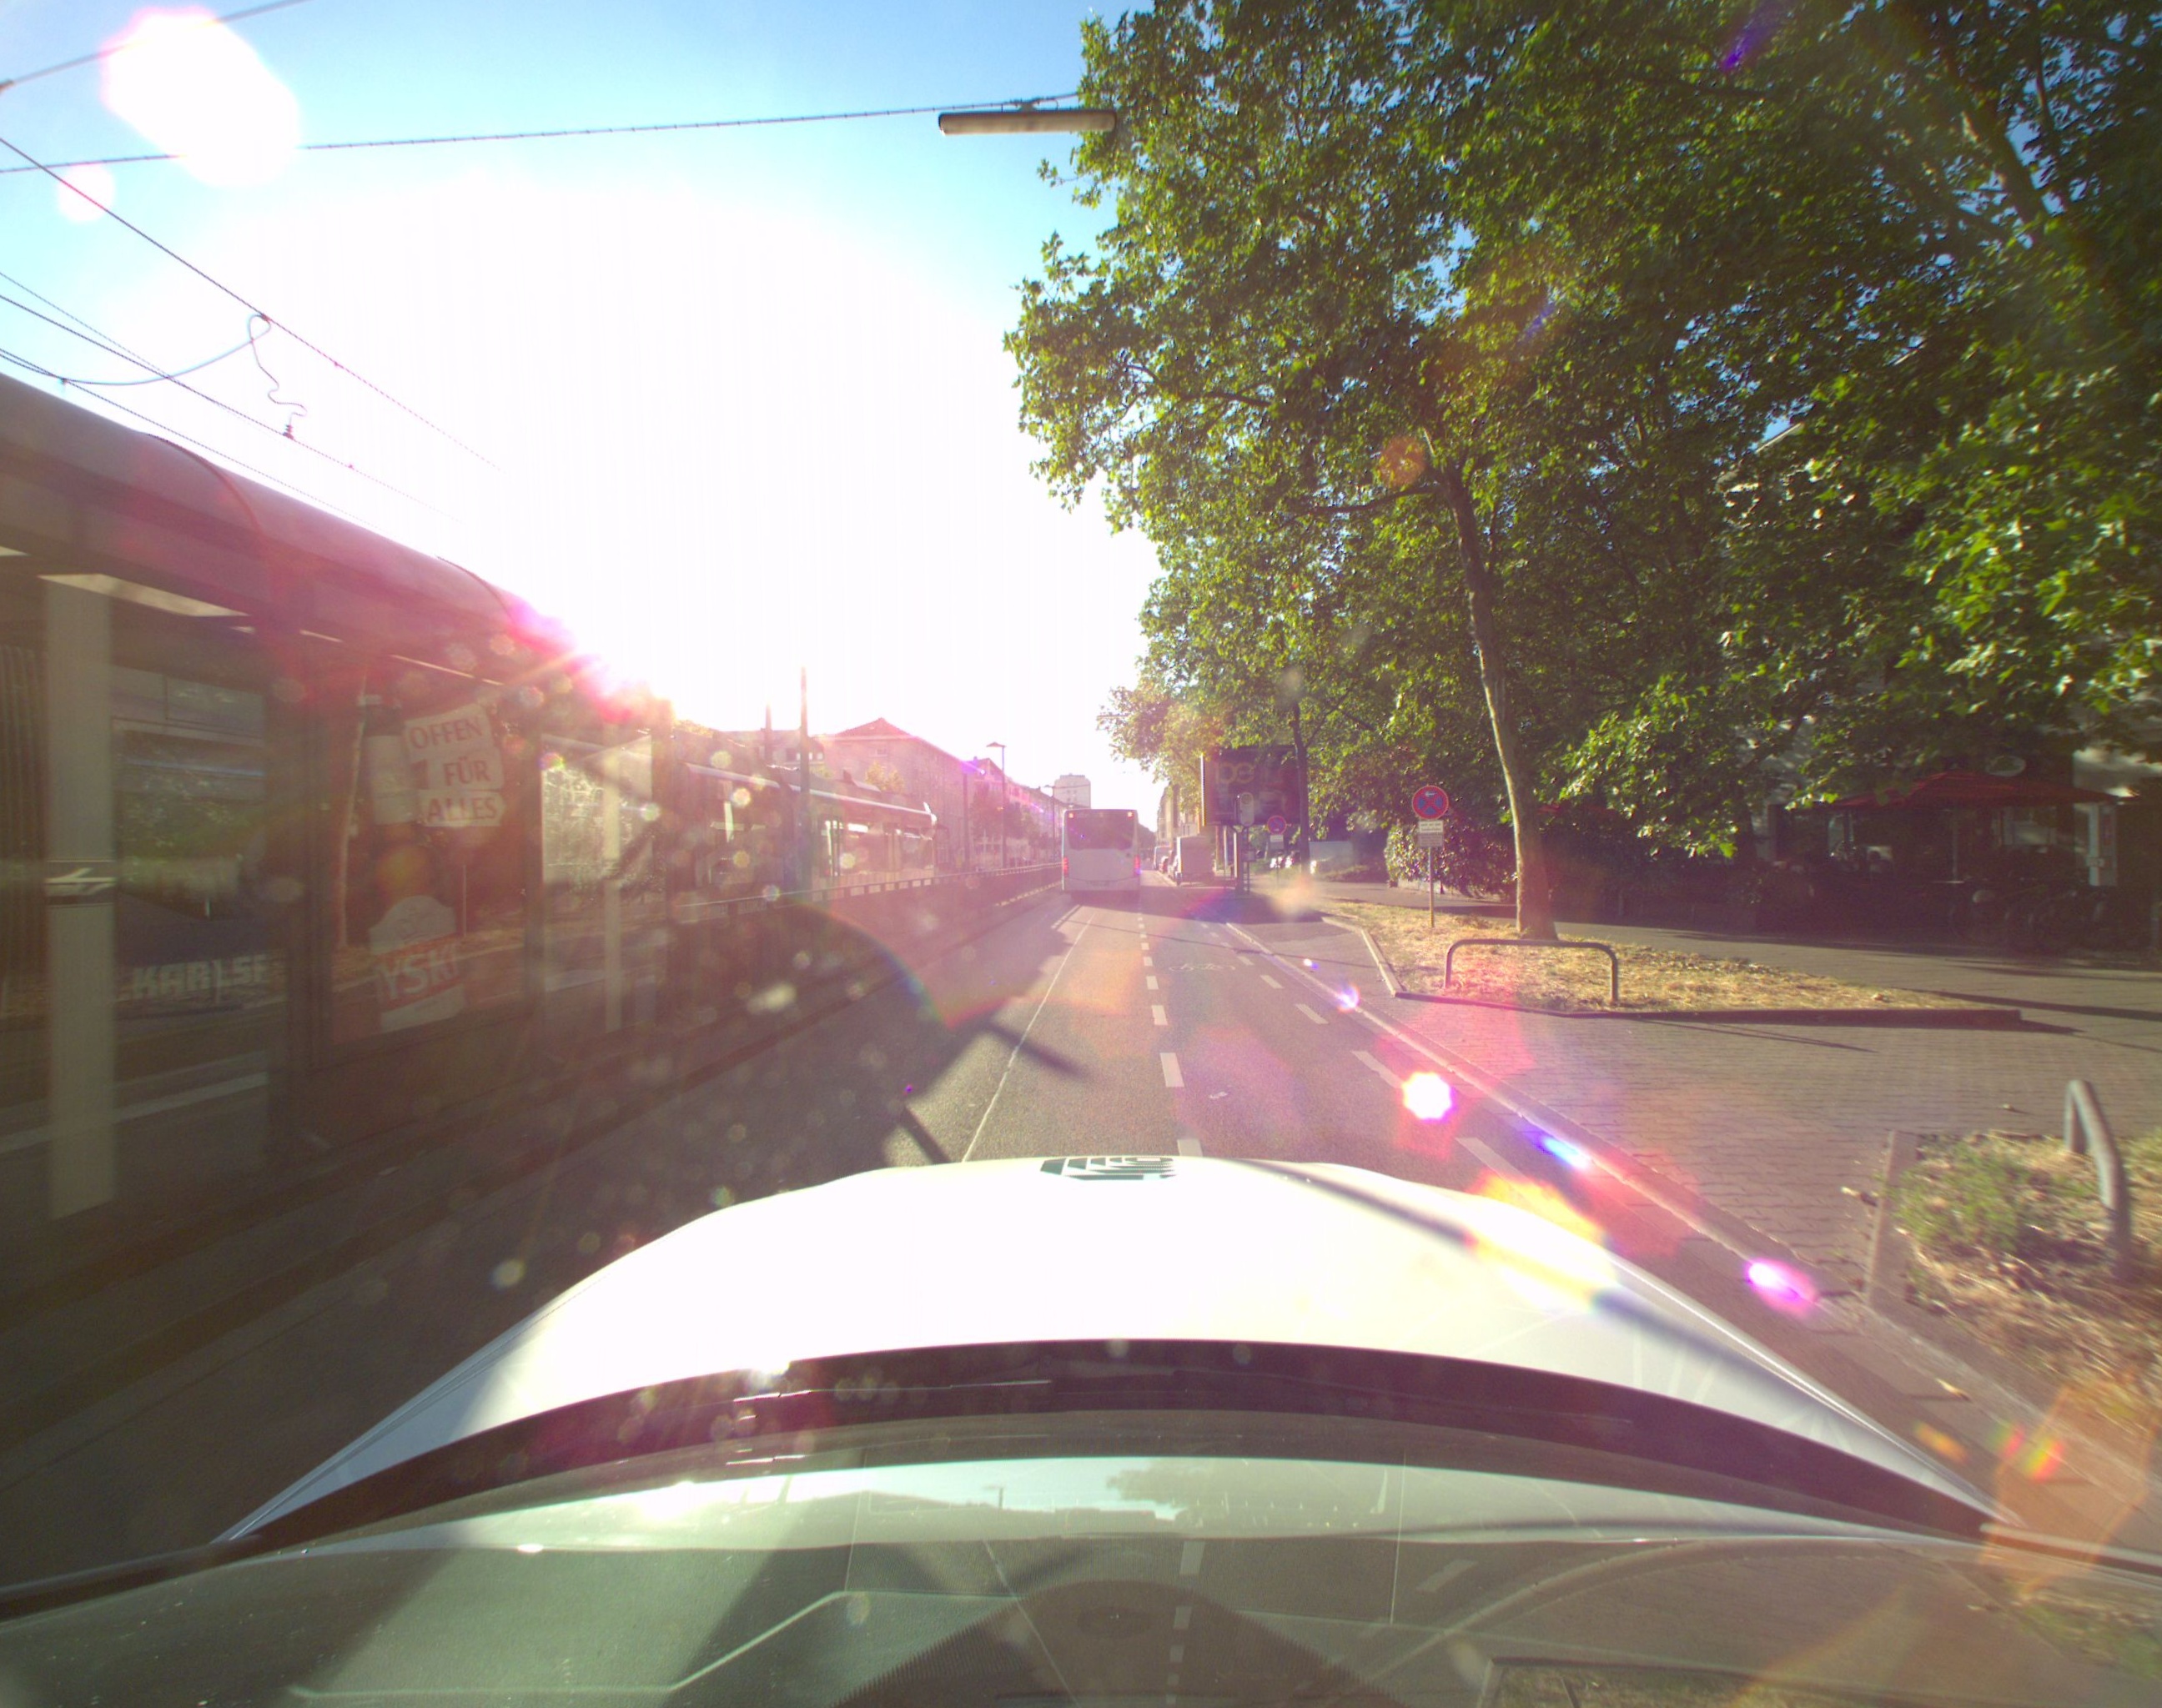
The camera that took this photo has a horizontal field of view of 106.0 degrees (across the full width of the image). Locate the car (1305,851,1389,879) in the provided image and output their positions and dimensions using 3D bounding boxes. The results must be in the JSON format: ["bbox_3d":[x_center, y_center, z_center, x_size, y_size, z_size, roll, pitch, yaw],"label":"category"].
[{"bbox_3d":[13.969,0.564,42.968,3.902,1.336,1.708,-2,-1,4],"label":"car"}]

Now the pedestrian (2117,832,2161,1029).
[{"bbox_3d":[9.009,0.607,6.362,0.788,1.572,0.816,-1,0,-1],"label":"pedestrian"}]

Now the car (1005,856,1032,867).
[{"bbox_3d":[-9.844,1.167,128.500,4.120,1.618,2.001,-1,0,1],"label":"car"}]

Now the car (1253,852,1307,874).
[{"bbox_3d":[15.747,0.733,64.642,3.903,1.588,1.708,-2,-1,3],"label":"car"}]

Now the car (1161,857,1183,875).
[{"bbox_3d":[8.064,1.089,72.401,1.664,1.463,3.937,-3,-1,4],"label":"car"}]

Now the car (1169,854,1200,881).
[{"bbox_3d":[6.361,0.823,50.359,1.693,1.588,3.831,-2,-1,4],"label":"car"}]

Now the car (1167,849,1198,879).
[{"bbox_3d":[6.962,0.701,56.431,1.839,1.956,4.548,-2,-1,4],"label":"car"}]

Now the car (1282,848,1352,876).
[{"bbox_3d":[14.726,0.503,50.913,3.903,1.636,1.708,-2,-1,3],"label":"car"}]

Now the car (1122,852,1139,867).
[{"bbox_3d":[6.291,0.619,102.460,1.984,1.816,4.005,-1,0,5],"label":"car"}]

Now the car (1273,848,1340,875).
[{"bbox_3d":[14.714,0.480,53.282,3.903,1.637,1.708,-2,-1,3],"label":"car"}]

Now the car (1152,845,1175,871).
[{"bbox_3d":[8.902,0.455,88.499,2.272,2.627,5.315,-2,-1,4],"label":"car"}]

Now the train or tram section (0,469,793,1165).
[{"bbox_3d":[-6.653,-0.165,7.299,2.716,3.549,12.798,-1,0,4],"label":"train or tram section"}]

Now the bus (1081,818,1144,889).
[{"bbox_3d":[1.739,-0.025,41.034,2.696,3.107,8.991,-1,0,5],"label":"bus"}]

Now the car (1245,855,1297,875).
[{"bbox_3d":[15.570,0.895,66.995,3.903,1.588,1.708,-2,-1,3],"label":"car"}]

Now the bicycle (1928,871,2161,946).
[{"bbox_3d":[13.920,0.773,11.777,2.359,1.024,0.666,-1,-1,10],"label":"bicycle"}]

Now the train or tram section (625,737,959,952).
[{"bbox_3d":[-5.820,-0.136,20.207,2.629,3.519,13.347,-1,0,4],"label":"train or tram section"}]

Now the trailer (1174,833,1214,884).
[{"bbox_3d":[5.953,0.245,43.297,1.824,2.557,3.322,-2,0,4],"label":"trailer"}]

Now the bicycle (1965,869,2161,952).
[{"bbox_3d":[13.542,0.751,10.929,2.360,1.024,0.665,-2,0,9],"label":"bicycle"}]

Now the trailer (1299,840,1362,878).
[{"bbox_3d":[13.945,0.269,45.667,3.050,2.069,1.881,-1,0,4],"label":"trailer"}]

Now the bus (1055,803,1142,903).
[{"bbox_3d":[0.942,-0.028,31.182,2.721,3.139,10.715,-1,0,4],"label":"bus"}]
